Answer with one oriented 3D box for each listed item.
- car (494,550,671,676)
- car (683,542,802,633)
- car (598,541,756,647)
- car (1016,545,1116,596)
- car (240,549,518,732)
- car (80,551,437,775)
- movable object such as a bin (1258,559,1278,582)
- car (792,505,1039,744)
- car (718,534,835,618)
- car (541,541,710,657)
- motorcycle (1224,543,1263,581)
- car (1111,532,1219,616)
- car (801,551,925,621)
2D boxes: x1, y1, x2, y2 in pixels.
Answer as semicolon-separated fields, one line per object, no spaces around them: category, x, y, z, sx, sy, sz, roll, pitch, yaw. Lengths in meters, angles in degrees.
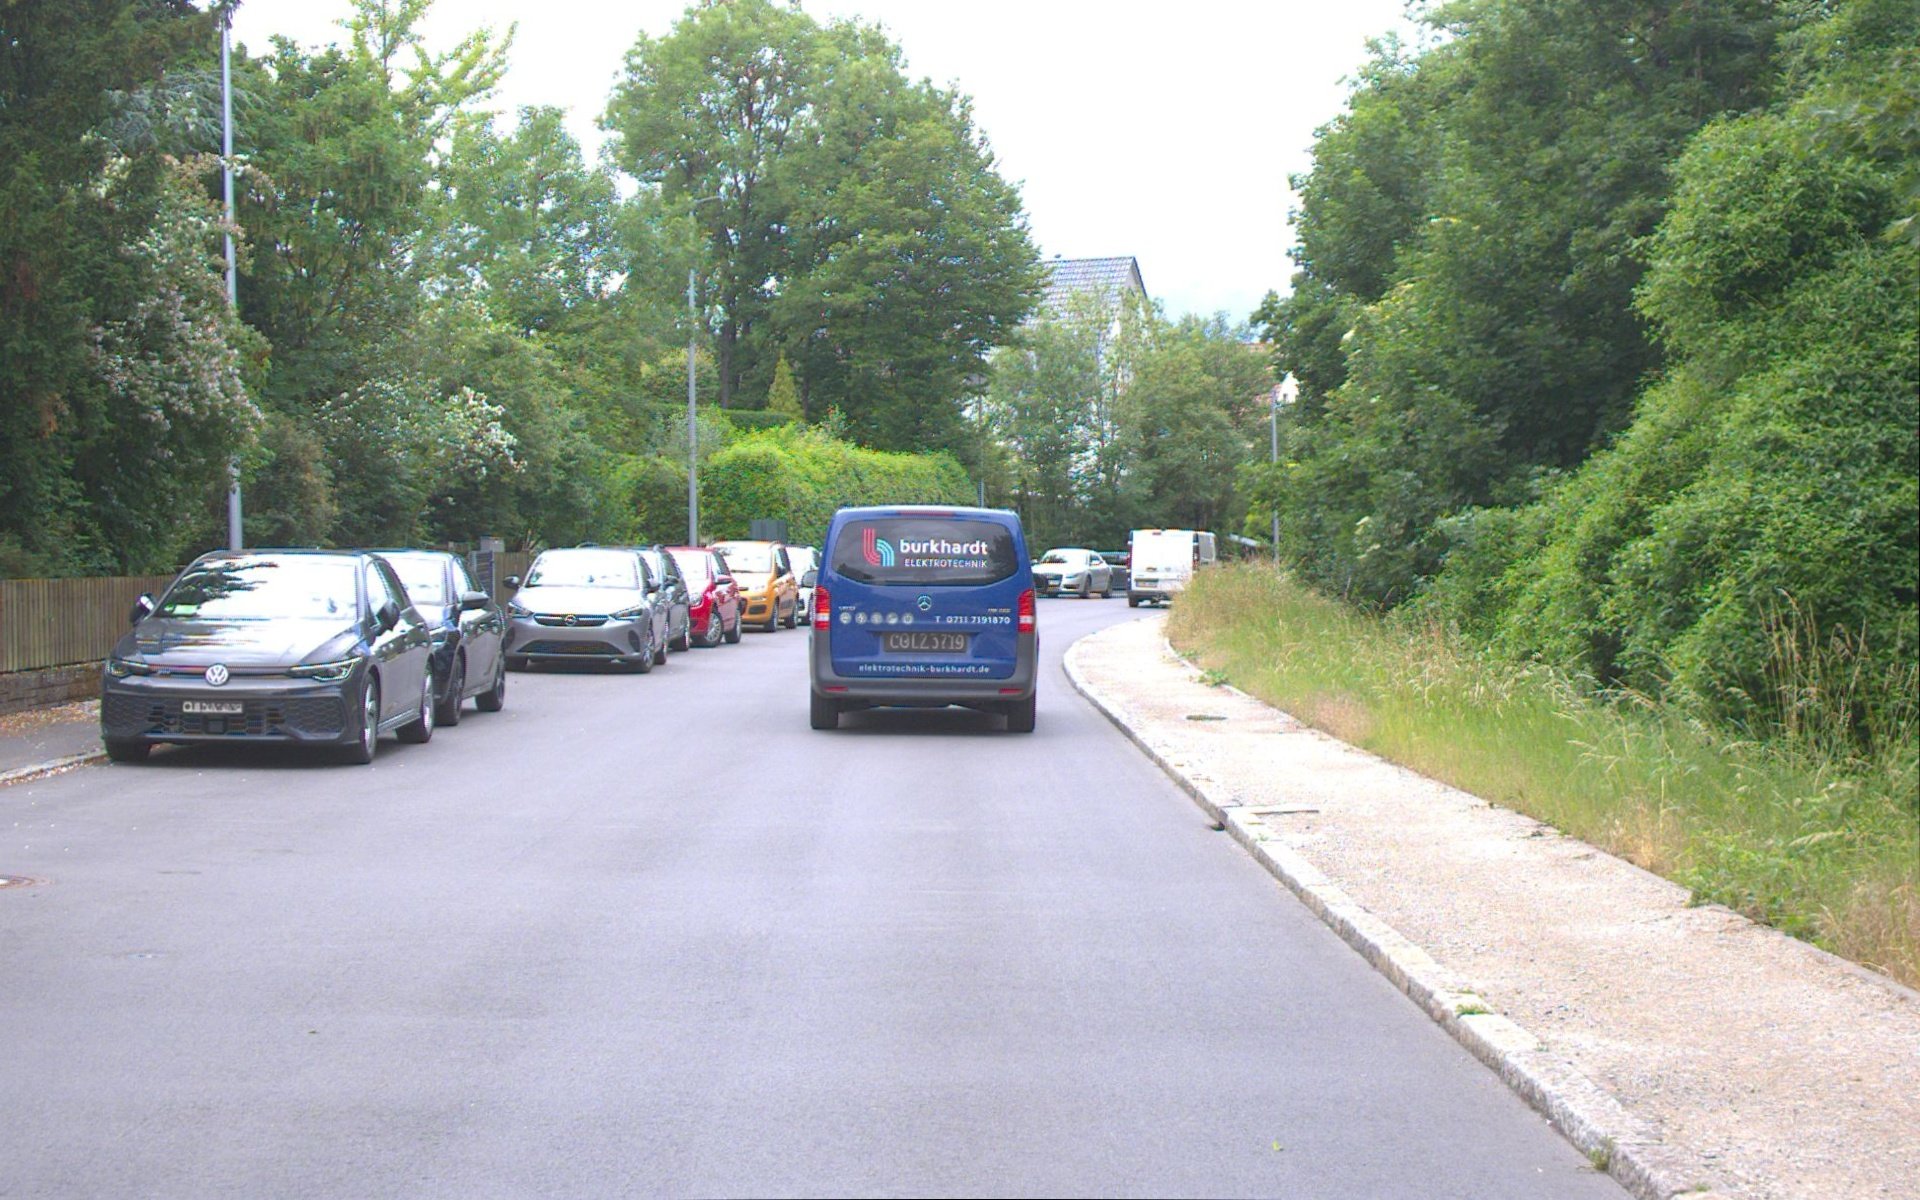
car;-4.464;0.117;41.130;1.707;1.405;4.161;1;1;-1
car;-3.732;-0.235;59.437;1.544;1.509;3.643;1;1;4
car;-4.234;-0.129;51.978;1.707;1.509;4.363;1;1;4
car;3.022;-0.853;96.826;1.832;1.369;4.442;2;1;15
car;-4.857;0.292;29.244;1.707;1.411;4.132;1;1;-1
car;-4.829;0.376;24.208;1.707;1.411;4.150;1;1;-1
movable object such as a bin;12.463;-1.189;139.170;0.591;0.906;0.699;1;0;24
car;-0.422;0.153;29.485;1.936;1.873;4.531;1;1;-2
car;-3.391;-0.470;64.035;1.588;1.509;3.590;1;1;6
car;-4.540;-0.053;47.266;1.707;1.509;4.495;1;1;2
motorcycle;11.330;-1.513;137.340;0.810;1.480;2.893;1;0;20
car;5.278;-0.665;87.610;2.206;2.056;6.132;0;1;8
car;-1.984;-0.310;71.610;1.719;1.380;4.661;1;1;9
